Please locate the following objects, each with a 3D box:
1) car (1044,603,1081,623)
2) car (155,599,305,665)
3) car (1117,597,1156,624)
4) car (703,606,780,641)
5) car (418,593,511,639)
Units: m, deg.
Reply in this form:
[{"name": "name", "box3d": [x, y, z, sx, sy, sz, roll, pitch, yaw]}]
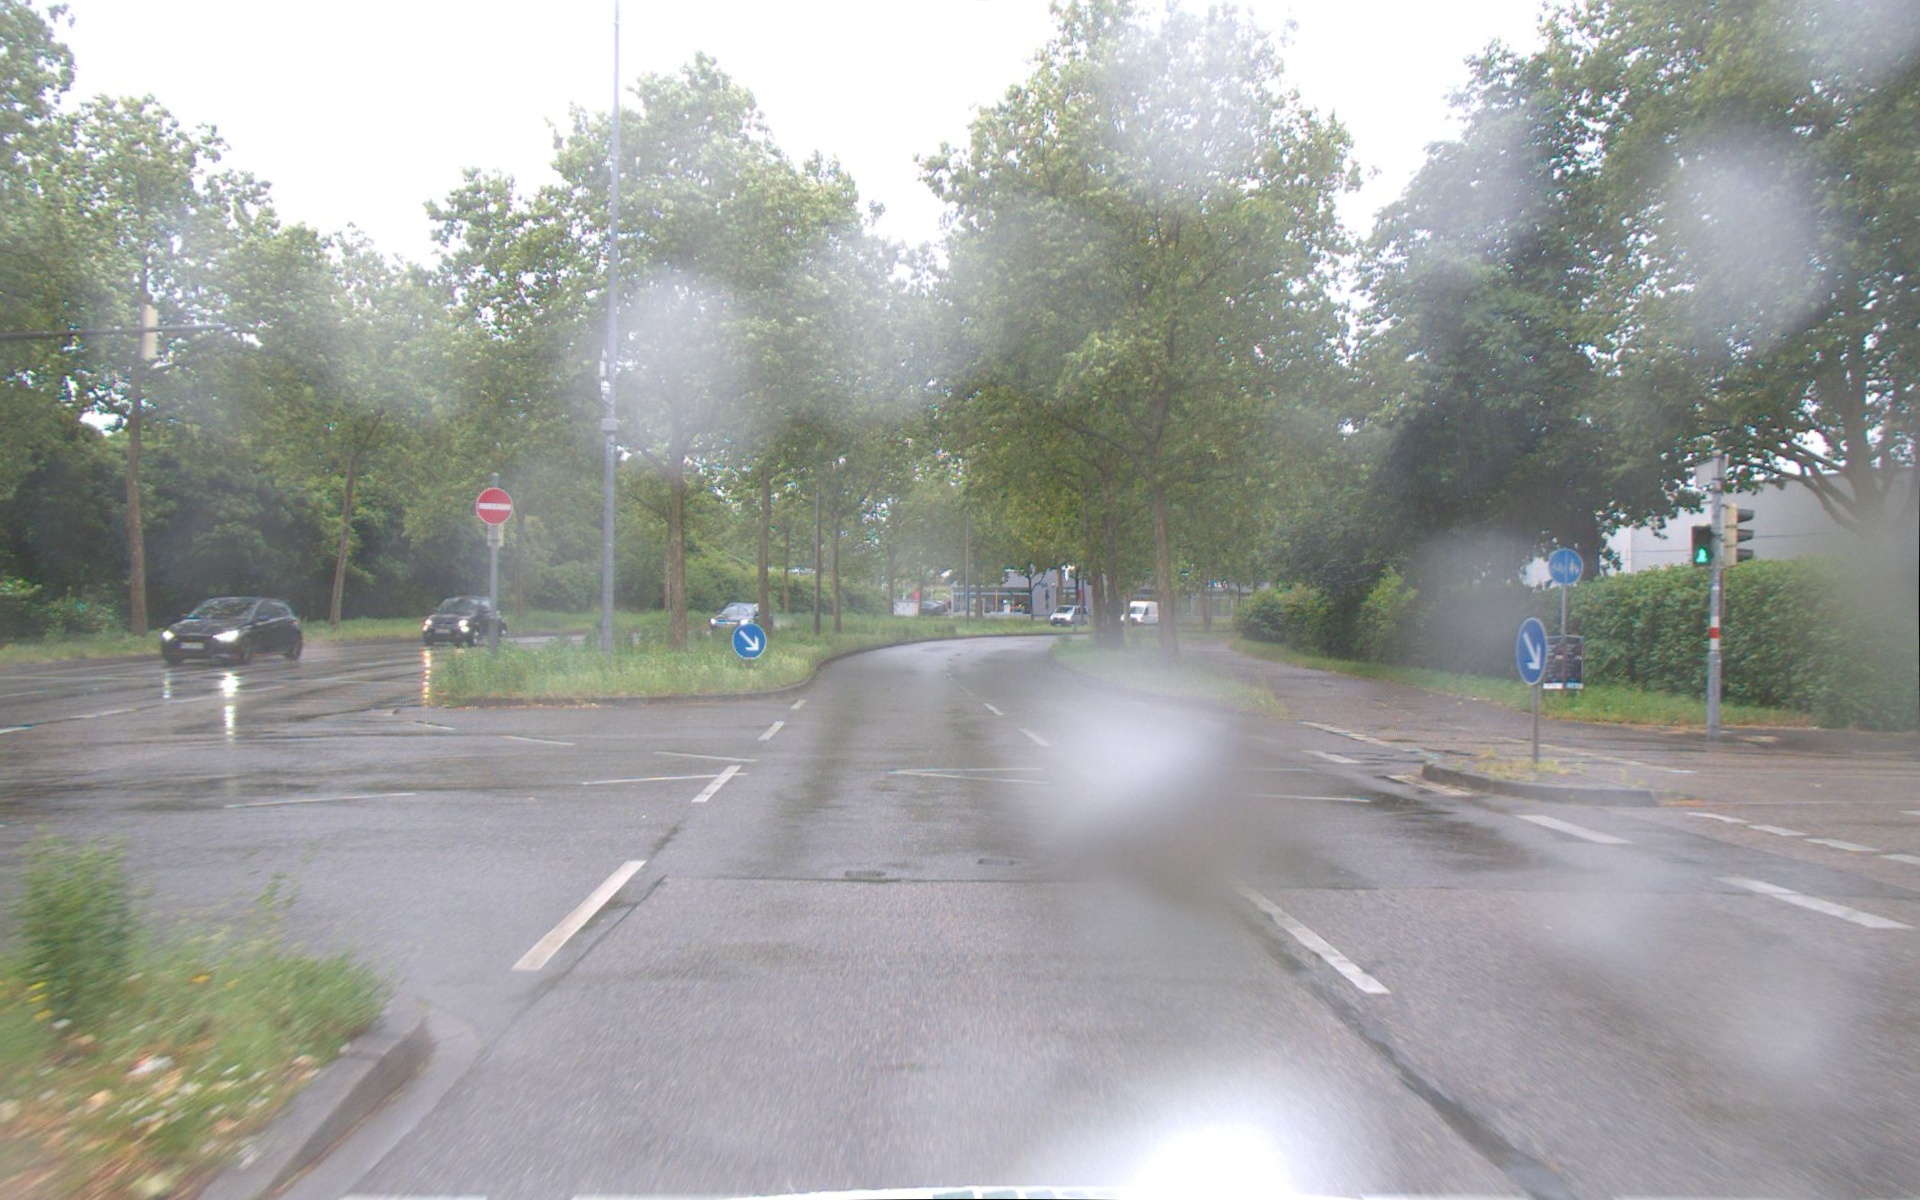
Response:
[{"name": "car", "box3d": [8.395, 1.044, 135.371, 1.930, 1.591, 4.733, 1, 0, 18]}, {"name": "car", "box3d": [-16.225, 0.684, 37.003, 1.555, 1.397, 4.260, 0, 0, -2]}, {"name": "car", "box3d": [16.088, 0.965, 150.626, 2.235, 2.311, 5.969, 1, 0, 19]}, {"name": "car", "box3d": [-9.302, 0.987, 70.790, 1.960, 1.477, 4.995, 0, 0, 9]}, {"name": "car", "box3d": [-15.480, 0.494, 51.853, 1.554, 1.397, 4.262, 0, 0, 1]}]
